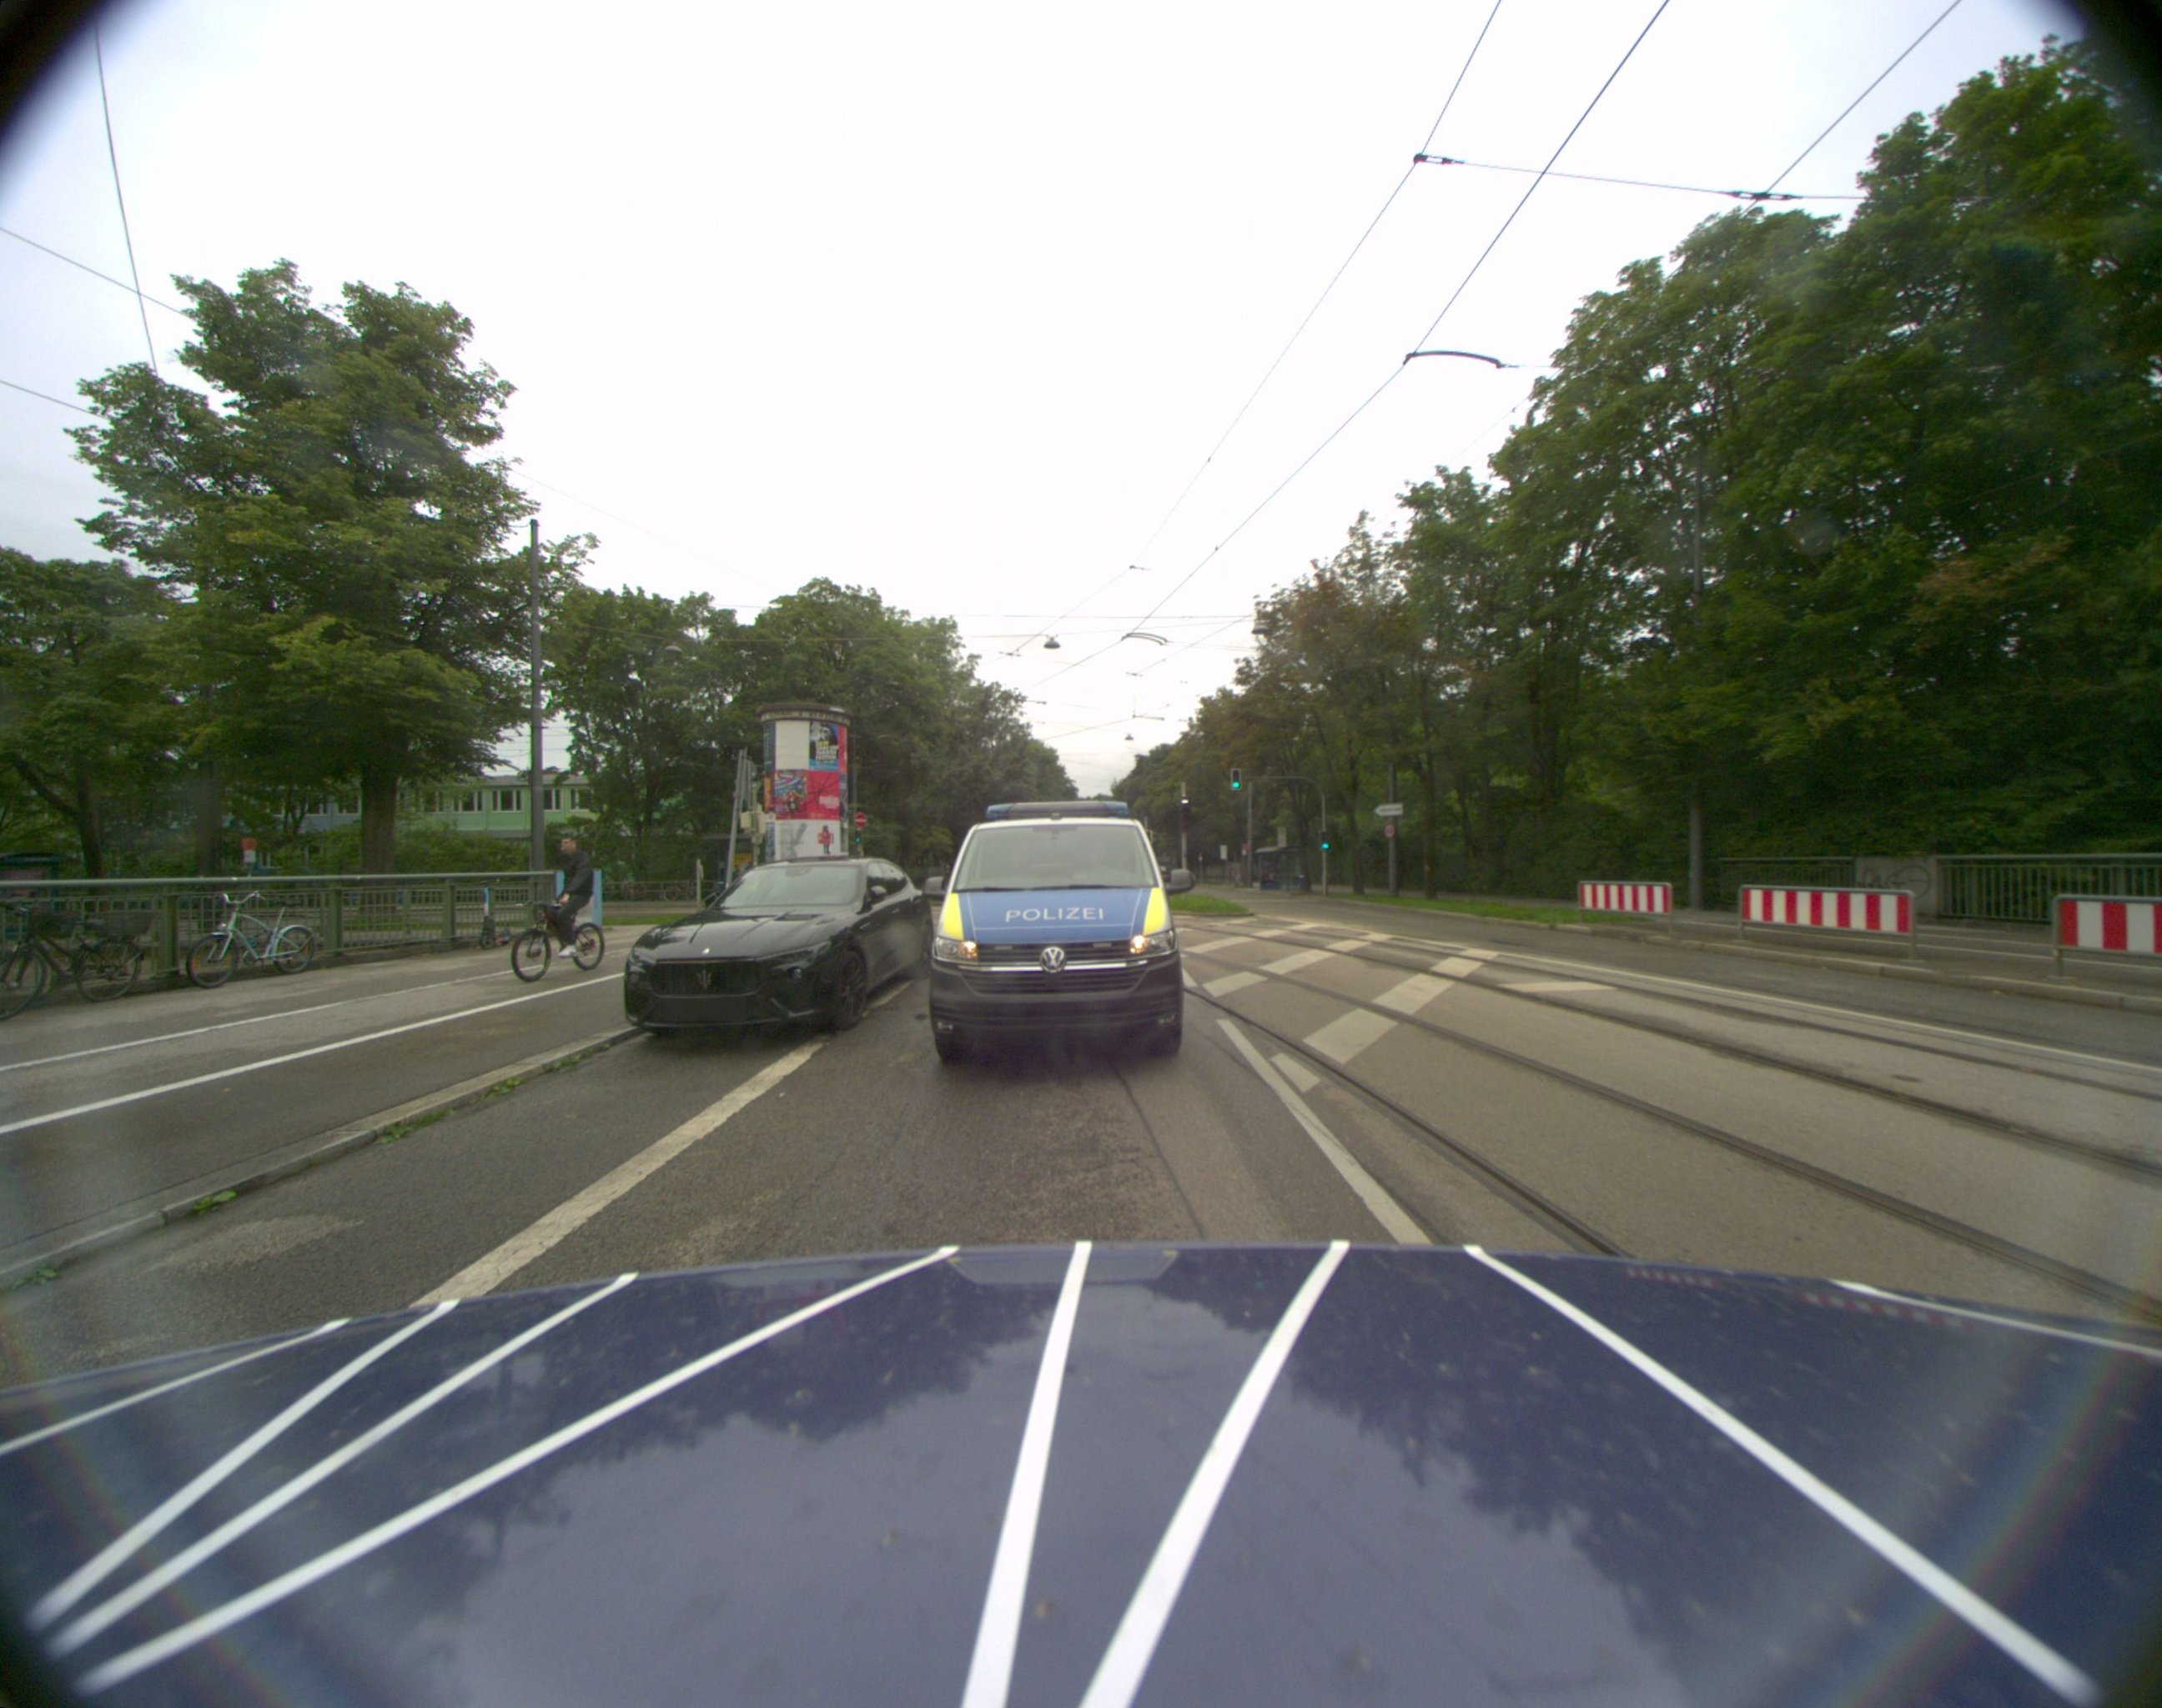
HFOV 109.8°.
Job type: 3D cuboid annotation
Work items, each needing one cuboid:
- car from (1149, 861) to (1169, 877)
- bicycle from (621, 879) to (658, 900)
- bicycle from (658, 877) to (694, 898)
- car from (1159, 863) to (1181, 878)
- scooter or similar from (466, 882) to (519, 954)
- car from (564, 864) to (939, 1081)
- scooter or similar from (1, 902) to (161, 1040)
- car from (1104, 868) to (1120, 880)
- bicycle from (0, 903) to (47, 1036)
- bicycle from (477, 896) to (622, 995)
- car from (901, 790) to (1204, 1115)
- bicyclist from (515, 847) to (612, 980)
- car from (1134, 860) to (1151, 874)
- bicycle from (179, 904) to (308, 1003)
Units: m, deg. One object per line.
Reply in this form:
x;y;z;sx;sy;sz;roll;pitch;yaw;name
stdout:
9.325;1.798;91.072;1.888;1.716;3.999;-3;0;-1;car
-20.774;1.651;35.760;1.483;0.946;0.373;-1;1;3;bicycle
-18.880;1.558;35.451;1.483;0.946;0.373;-1;1;3;bicycle
9.966;1.868;85.554;1.888;1.531;3.999;-3;0;-1;car
-10.620;1.136;13.729;0.225;1.205;1.020;-3;1;-8;scooter or similar
-3.022;0.961;8.285;1.905;1.600;4.665;-3;-1;1;car
-10.590;1.179;8.104;0.245;1.255;1.493;-3;0;-22;scooter or similar
3.834;2.441;94.568;1.628;1.380;4.839;1;-1;-3;car
-10.595;1.138;7.112;0.283;1.274;1.408;-3;0;-19;bicycle
-6.983;1.161;10.110;0.580;1.072;1.912;1;0;0;bicycle
-0.221;0.620;7.689;1.903;2.041;5.708;-1;0;-1;car
-7.002;0.779;10.312;0.726;1.719;0.726;-3;1;0;bicyclist
8.595;1.788;105.736;1.888;1.716;3.999;-3;0;-1;car
-10.744;1.234;9.806;0.265;1.076;1.540;-3;0;-14;bicycle
